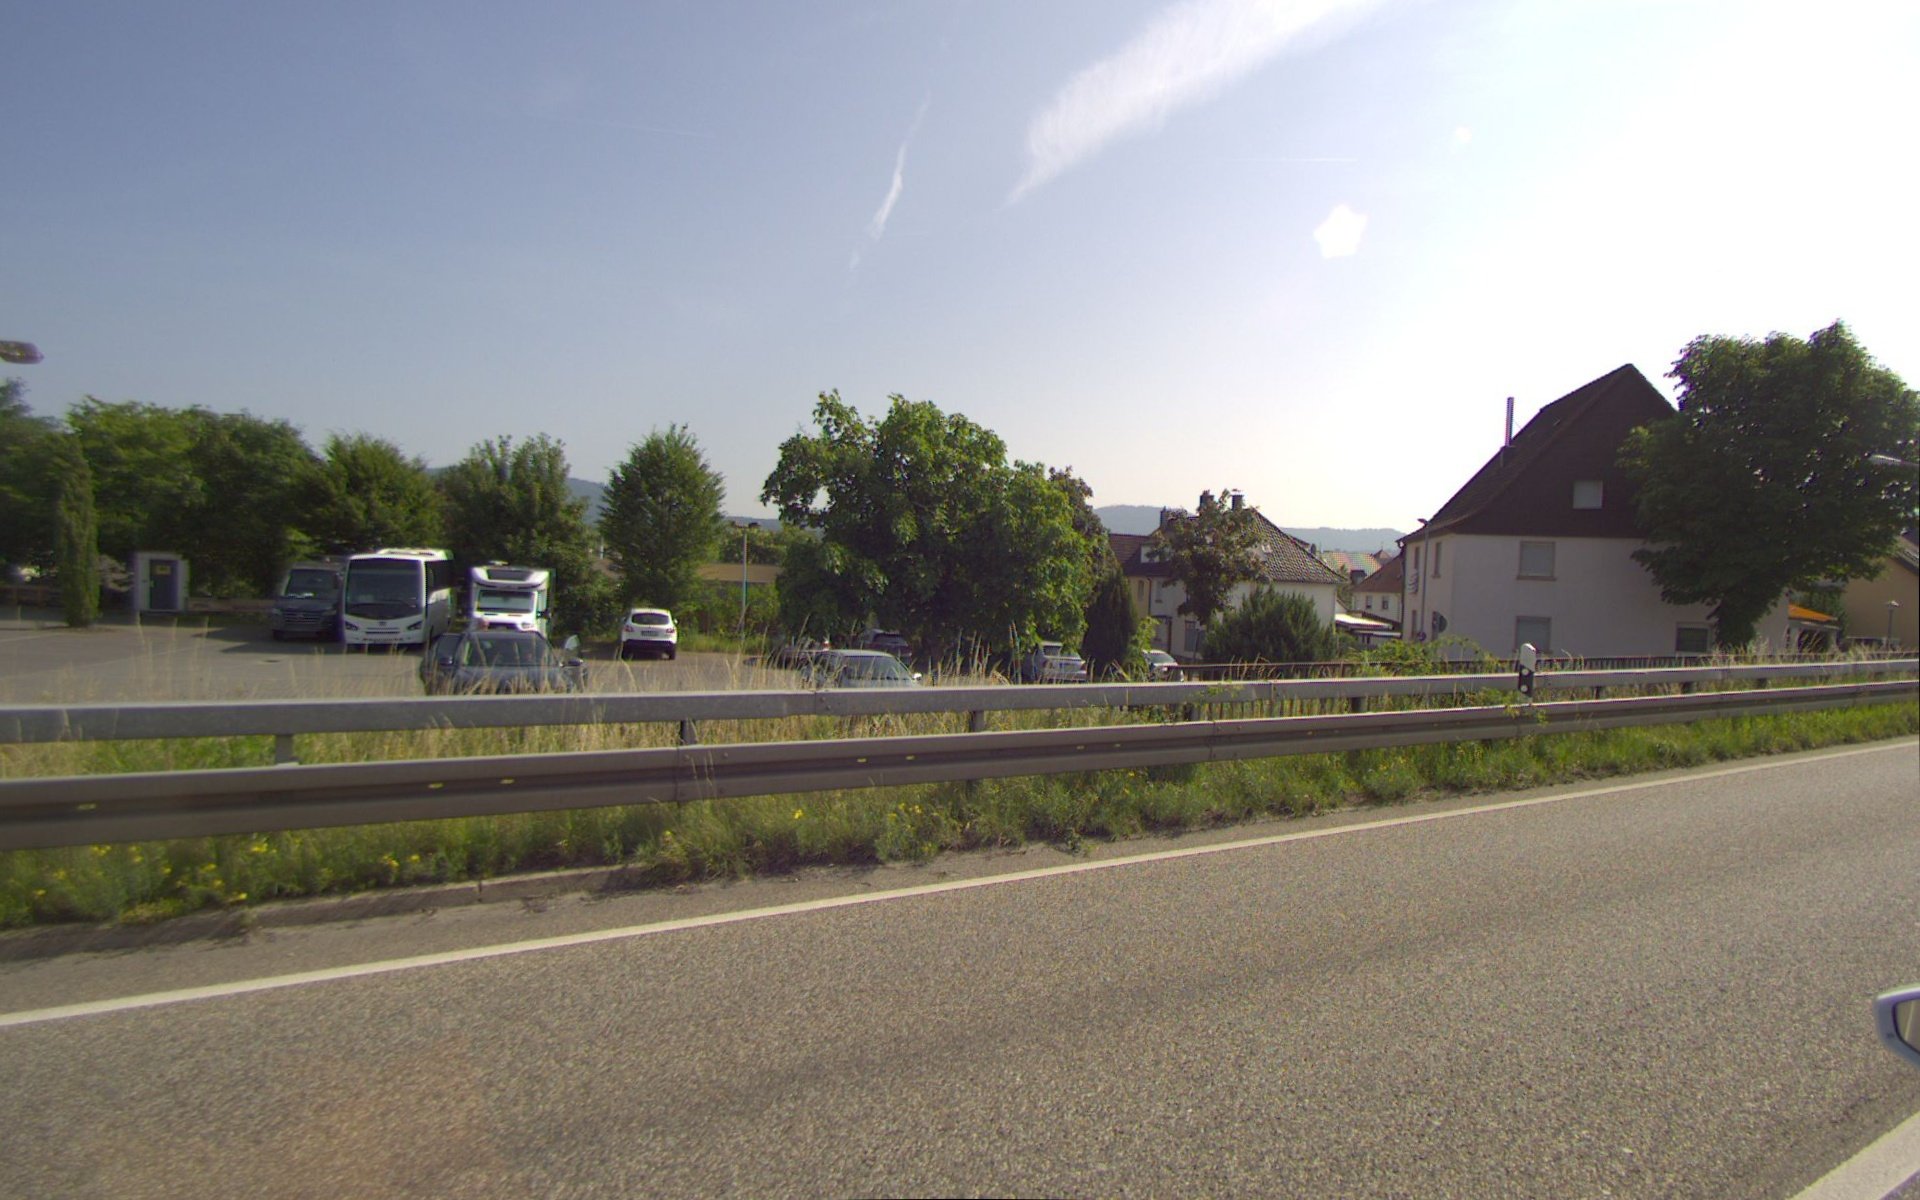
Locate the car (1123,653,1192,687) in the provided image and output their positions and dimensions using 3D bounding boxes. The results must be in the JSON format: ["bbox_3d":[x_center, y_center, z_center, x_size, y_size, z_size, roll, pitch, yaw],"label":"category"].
[{"bbox_3d":[9.576,3.379,48.967,1.727,1.458,3.832,0,-1,-17],"label":"car"}]

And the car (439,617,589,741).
[{"bbox_3d":[-7.615,1.194,16.929,1.852,1.687,4.278,1,0,-30],"label":"car"}]

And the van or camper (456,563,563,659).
[{"bbox_3d":[-15.226,0.249,34.413,2.705,2.880,7.384,2,1,-20],"label":"van or camper"}]

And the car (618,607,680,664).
[{"bbox_3d":[-10.862,1.185,34.877,1.834,1.655,4.551,1,2,-20],"label":"car"}]

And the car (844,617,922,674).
[{"bbox_3d":[-2.891,1.621,36.726,1.832,1.655,4.555,4,1,-17],"label":"car"}]

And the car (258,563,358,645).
[{"bbox_3d":[-22.995,0.067,35.623,1.834,2.696,5.014,1,2,-20],"label":"car"}]

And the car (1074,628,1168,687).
[{"bbox_3d":[6.063,2.158,38.307,1.832,1.655,4.156,4,3,-17],"label":"car"}]

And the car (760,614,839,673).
[{"bbox_3d":[-5.689,1.461,35.182,1.834,1.655,4.551,4,1,-20],"label":"car"}]

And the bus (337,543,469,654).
[{"bbox_3d":[-19.462,-0.186,35.651,2.624,3.400,9.086,0,2,-20],"label":"bus"}]

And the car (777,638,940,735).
[{"bbox_3d":[-2.150,1.616,20.079,1.850,1.524,4.284,1,0,-26],"label":"car"}]

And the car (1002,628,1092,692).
[{"bbox_3d":[3.041,2.108,36.165,1.830,1.655,4.559,4,3,-13],"label":"car"}]
